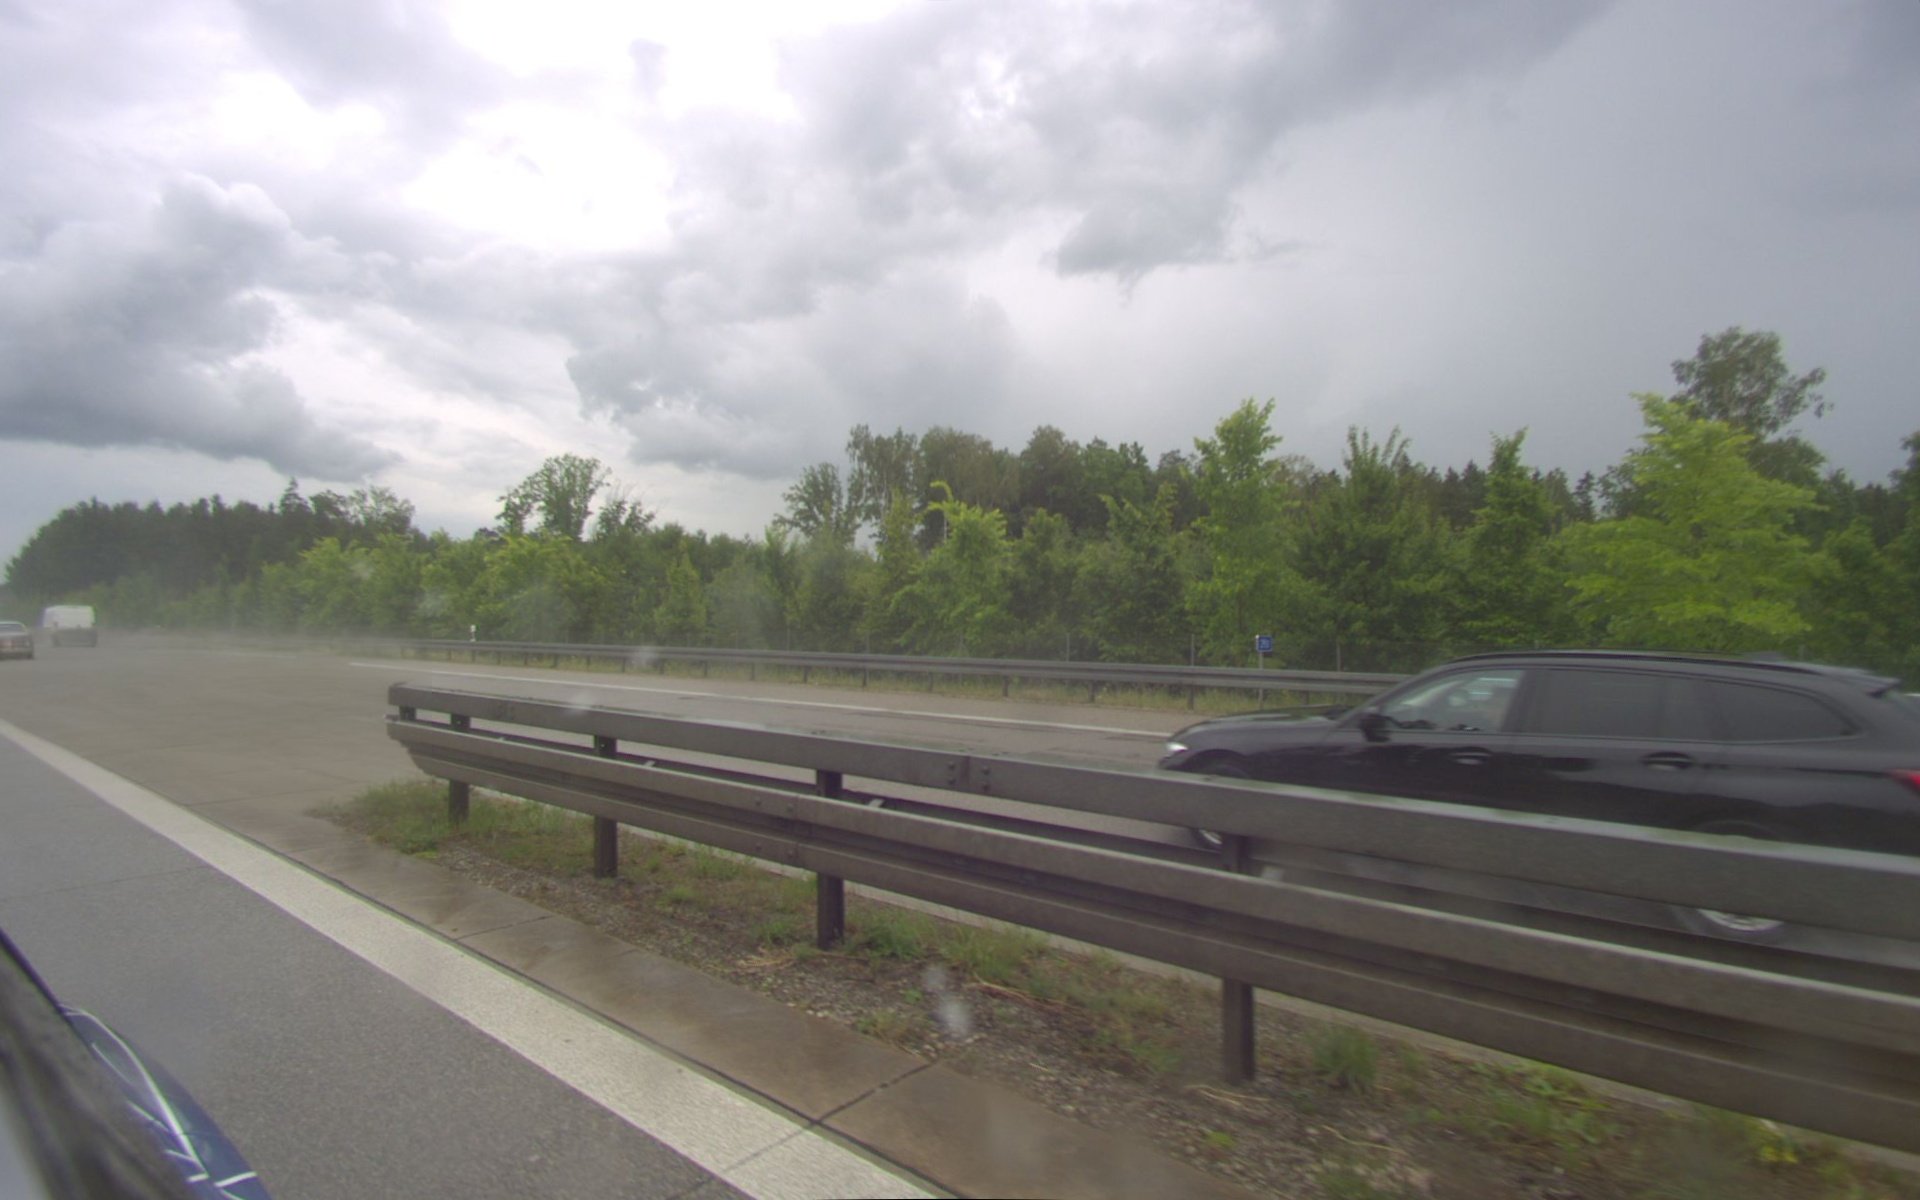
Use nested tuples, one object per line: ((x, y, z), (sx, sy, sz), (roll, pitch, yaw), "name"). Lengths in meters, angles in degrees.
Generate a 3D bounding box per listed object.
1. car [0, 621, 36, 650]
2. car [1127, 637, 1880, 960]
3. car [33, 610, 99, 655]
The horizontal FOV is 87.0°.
((-48.654, 1.798, 51.411), (4.599, 1.429, 1.751), (-2, -3, 38), "car")
((3.156, 0.968, 6.459), (3.928, 1.414, 1.504), (-1, -2, 41), "car")
((-58.129, 2.079, 65.735), (6.871, 2.770, 2.326), (-2, -2, 41), "car")
